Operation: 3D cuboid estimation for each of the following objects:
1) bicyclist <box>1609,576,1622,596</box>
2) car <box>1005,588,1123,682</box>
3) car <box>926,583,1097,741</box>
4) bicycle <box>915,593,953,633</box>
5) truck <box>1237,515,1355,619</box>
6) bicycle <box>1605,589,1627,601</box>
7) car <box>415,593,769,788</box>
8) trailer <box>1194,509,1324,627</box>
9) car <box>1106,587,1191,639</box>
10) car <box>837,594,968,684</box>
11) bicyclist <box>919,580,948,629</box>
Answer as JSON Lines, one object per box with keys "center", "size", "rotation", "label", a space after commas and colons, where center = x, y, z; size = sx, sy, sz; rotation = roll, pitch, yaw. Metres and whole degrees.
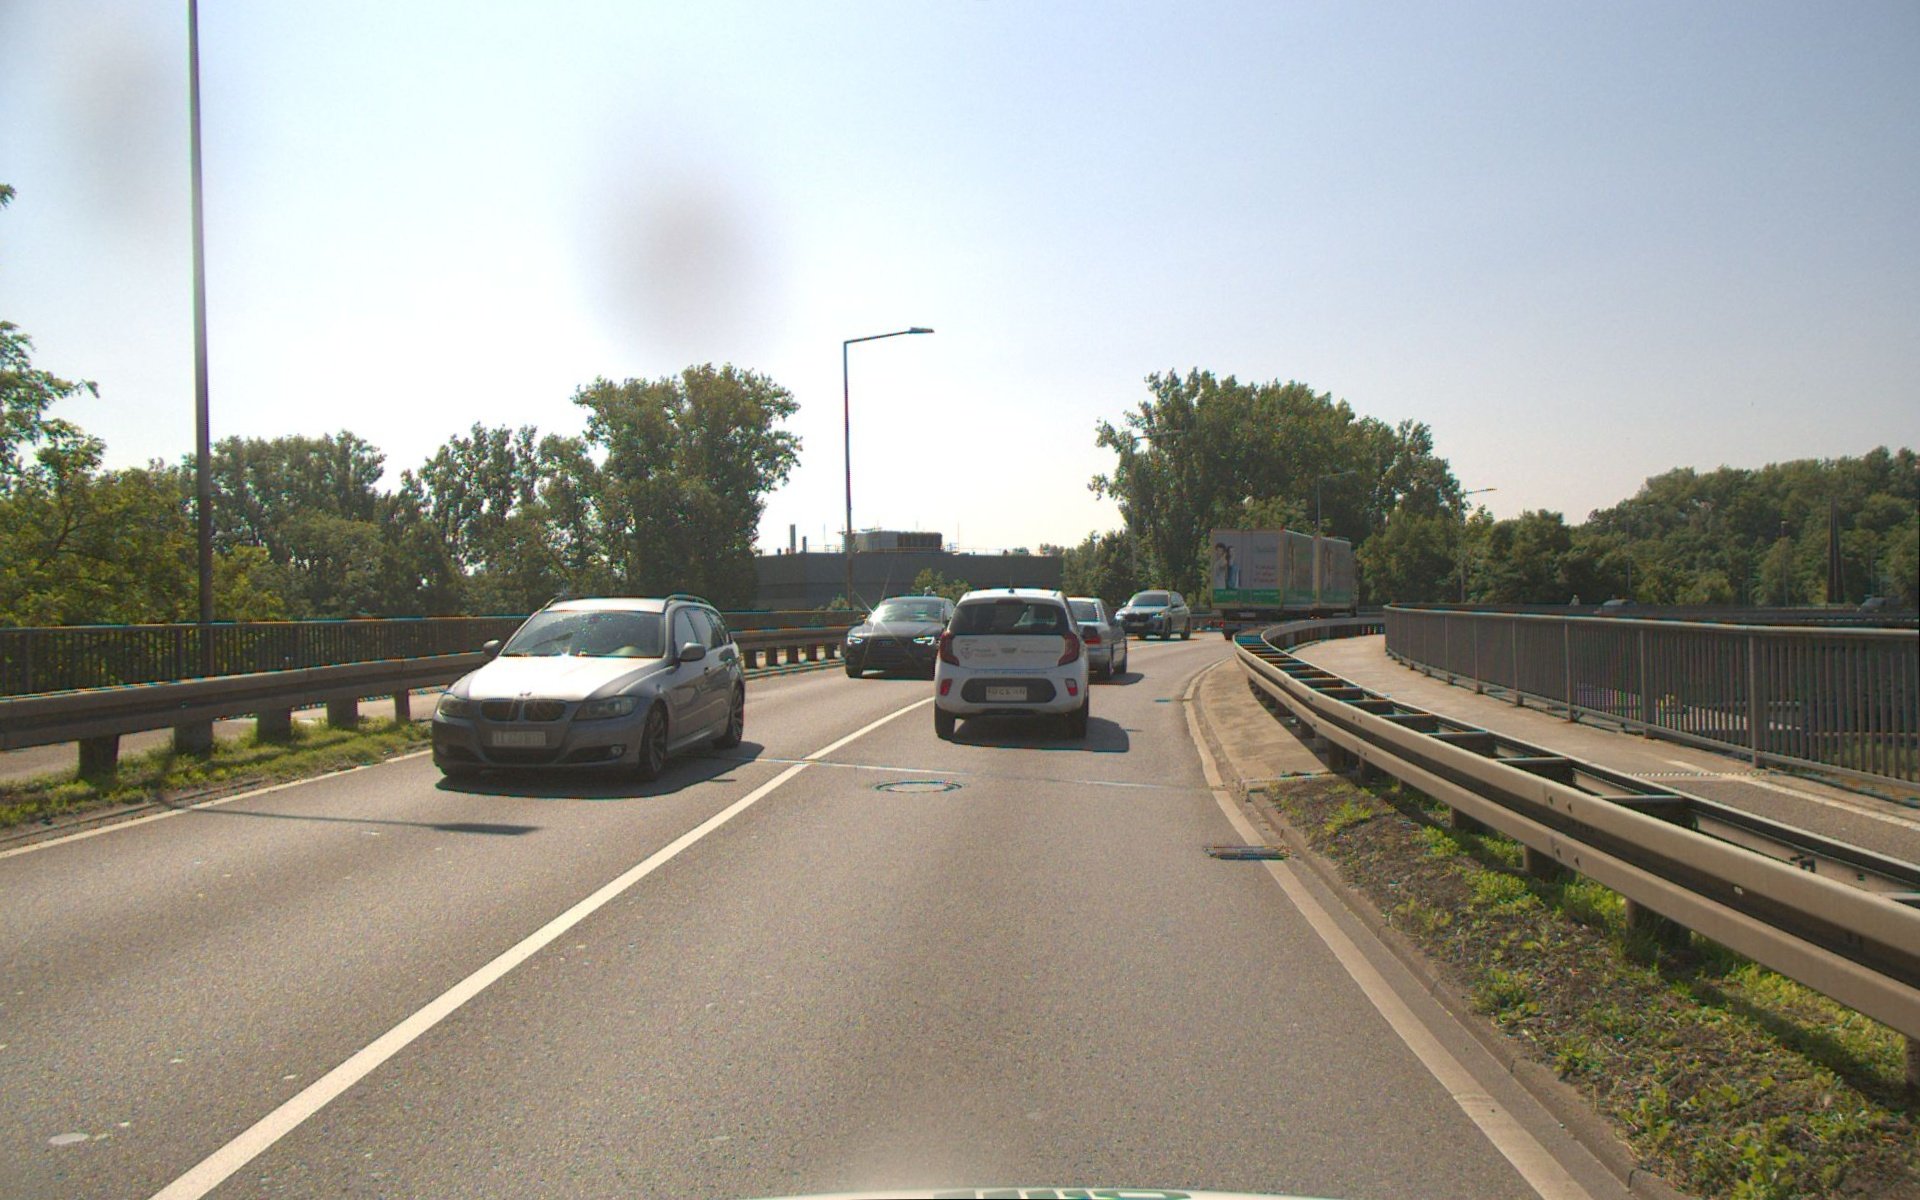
{"center": [49.799, -1.074, 125.630], "size": [0.651, 1.522, 1.009], "rotation": [1, 2, 43], "label": "bicyclist"}
{"center": [1.952, 0.563, 29.698], "size": [1.898, 1.512, 4.903], "rotation": [1, 1, 6], "label": "car"}
{"center": [0.657, 0.590, 18.420], "size": [1.666, 1.520, 4.002], "rotation": [1, 1, 4], "label": "car"}
{"center": [-0.781, 0.399, 50.008], "size": [0.599, 1.155, 2.151], "rotation": [-3, -1, 13], "label": "bicycle"}
{"center": [13.535, -1.376, 66.034], "size": [3.193, 3.823, 8.372], "rotation": [2, 2, 21], "label": "truck"}
{"center": [49.867, -0.395, 125.706], "size": [0.915, 0.906, 1.954], "rotation": [0, 1, 43], "label": "bicycle"}
{"center": [-2.992, 0.659, 14.392], "size": [1.680, 1.422, 4.186], "rotation": [0, 0, 7], "label": "car"}
{"center": [10.715, -1.175, 58.571], "size": [3.158, 3.823, 7.827], "rotation": [2, 2, 20], "label": "trailer"}
{"center": [6.617, 0.475, 57.682], "size": [1.820, 1.712, 4.472], "rotation": [1, 0, 22], "label": "car"}
{"center": [-0.973, 0.651, 30.155], "size": [1.701, 1.482, 4.302], "rotation": [0, 1, 7], "label": "car"}
{"center": [-0.800, 0.141, 50.025], "size": [0.595, 1.464, 1.079], "rotation": [-2, -1, 13], "label": "bicyclist"}
